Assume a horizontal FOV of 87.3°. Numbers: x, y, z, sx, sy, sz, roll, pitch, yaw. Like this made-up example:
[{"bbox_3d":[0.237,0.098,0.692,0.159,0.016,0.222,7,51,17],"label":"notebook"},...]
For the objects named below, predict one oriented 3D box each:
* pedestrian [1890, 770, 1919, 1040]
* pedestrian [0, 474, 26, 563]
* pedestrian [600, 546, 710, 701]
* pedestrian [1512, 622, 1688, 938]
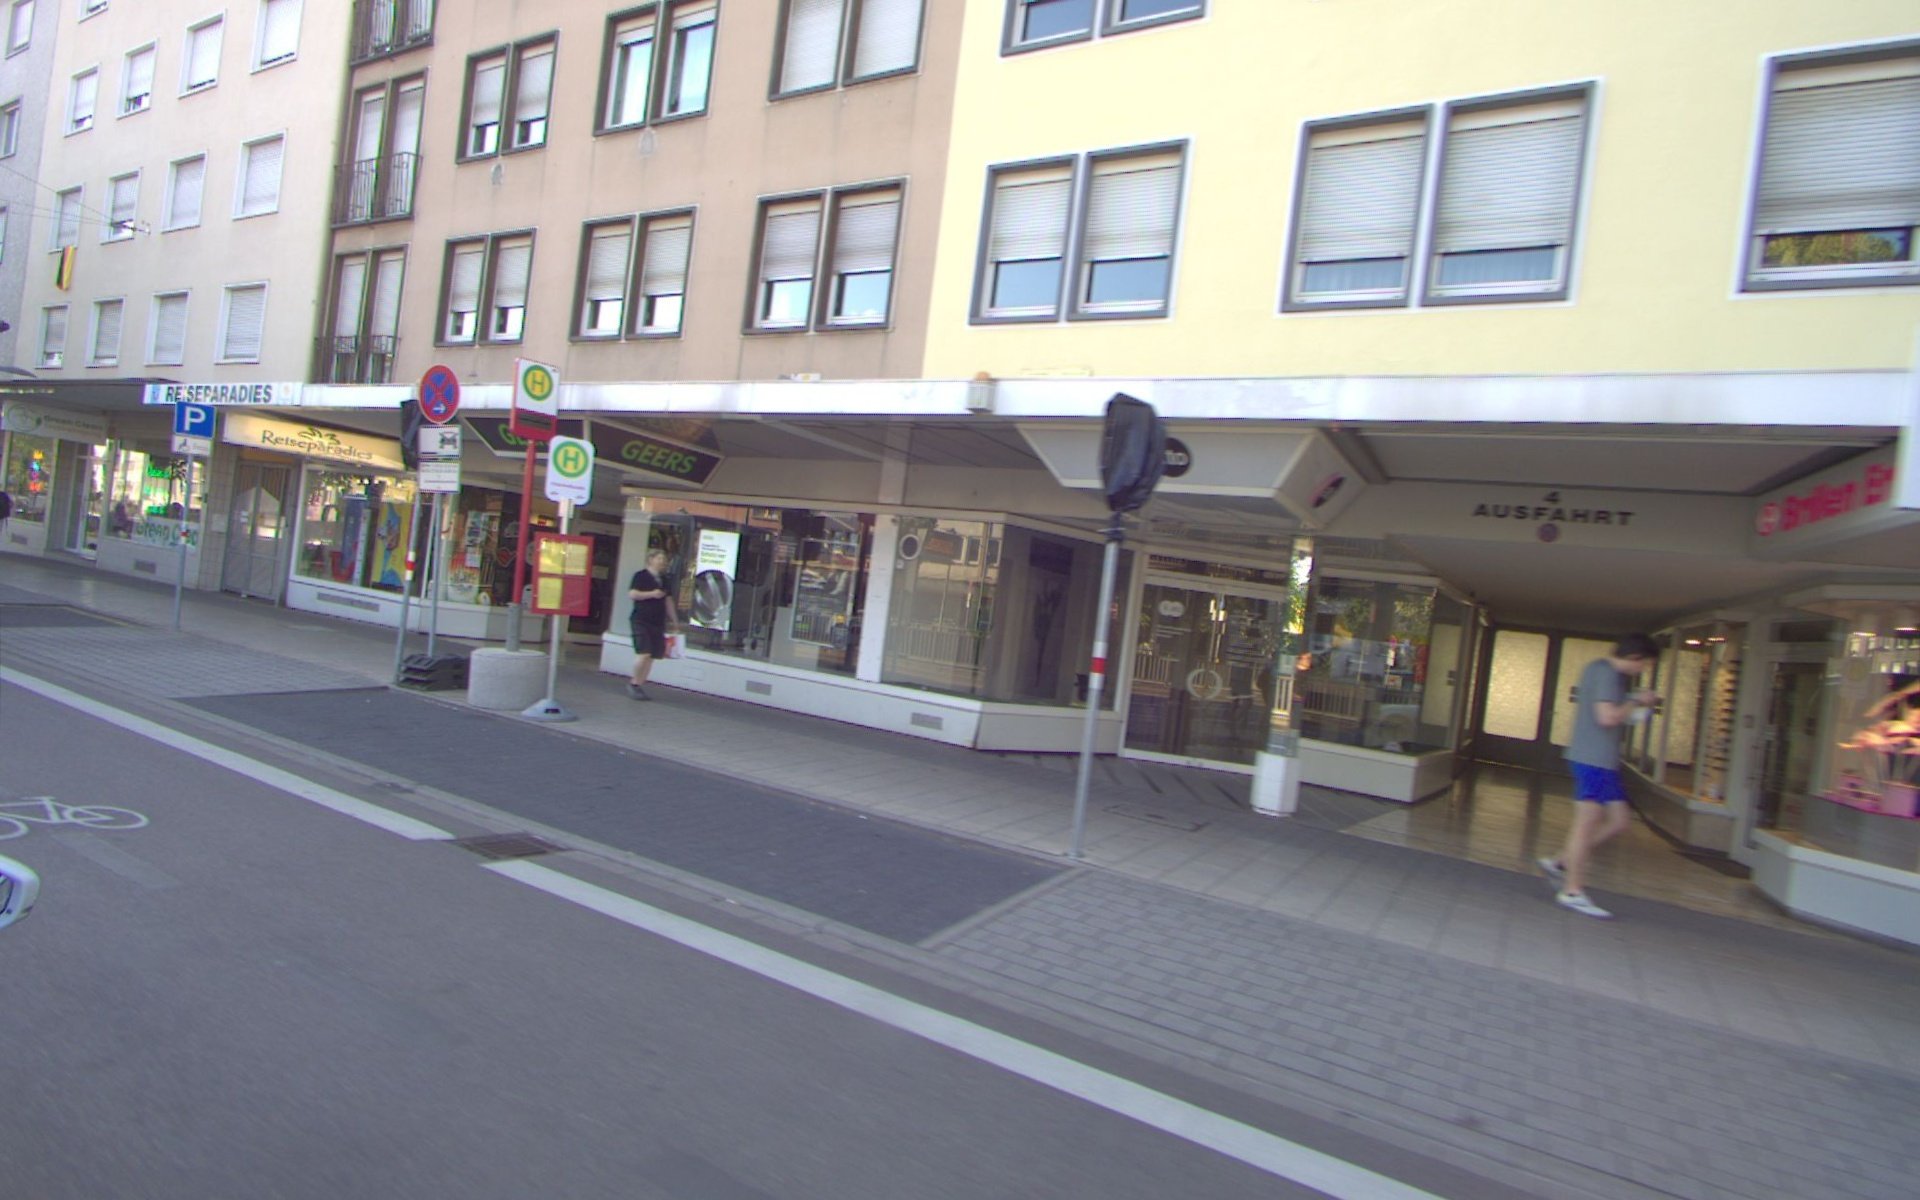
[{"bbox_3d":[5.098,1.350,4.709,0.837,1.598,0.611,7,1,31],"label":"pedestrian"},{"bbox_3d":[-20.287,-1.735,21.090,0.753,1.818,0.724,7,1,31],"label":"pedestrian"},{"bbox_3d":[-3.478,0.275,11.482,0.753,1.653,0.724,7,1,31],"label":"pedestrian"},{"bbox_3d":[4.198,1.131,6.653,0.753,1.863,0.724,7,1,31],"label":"pedestrian"}]
